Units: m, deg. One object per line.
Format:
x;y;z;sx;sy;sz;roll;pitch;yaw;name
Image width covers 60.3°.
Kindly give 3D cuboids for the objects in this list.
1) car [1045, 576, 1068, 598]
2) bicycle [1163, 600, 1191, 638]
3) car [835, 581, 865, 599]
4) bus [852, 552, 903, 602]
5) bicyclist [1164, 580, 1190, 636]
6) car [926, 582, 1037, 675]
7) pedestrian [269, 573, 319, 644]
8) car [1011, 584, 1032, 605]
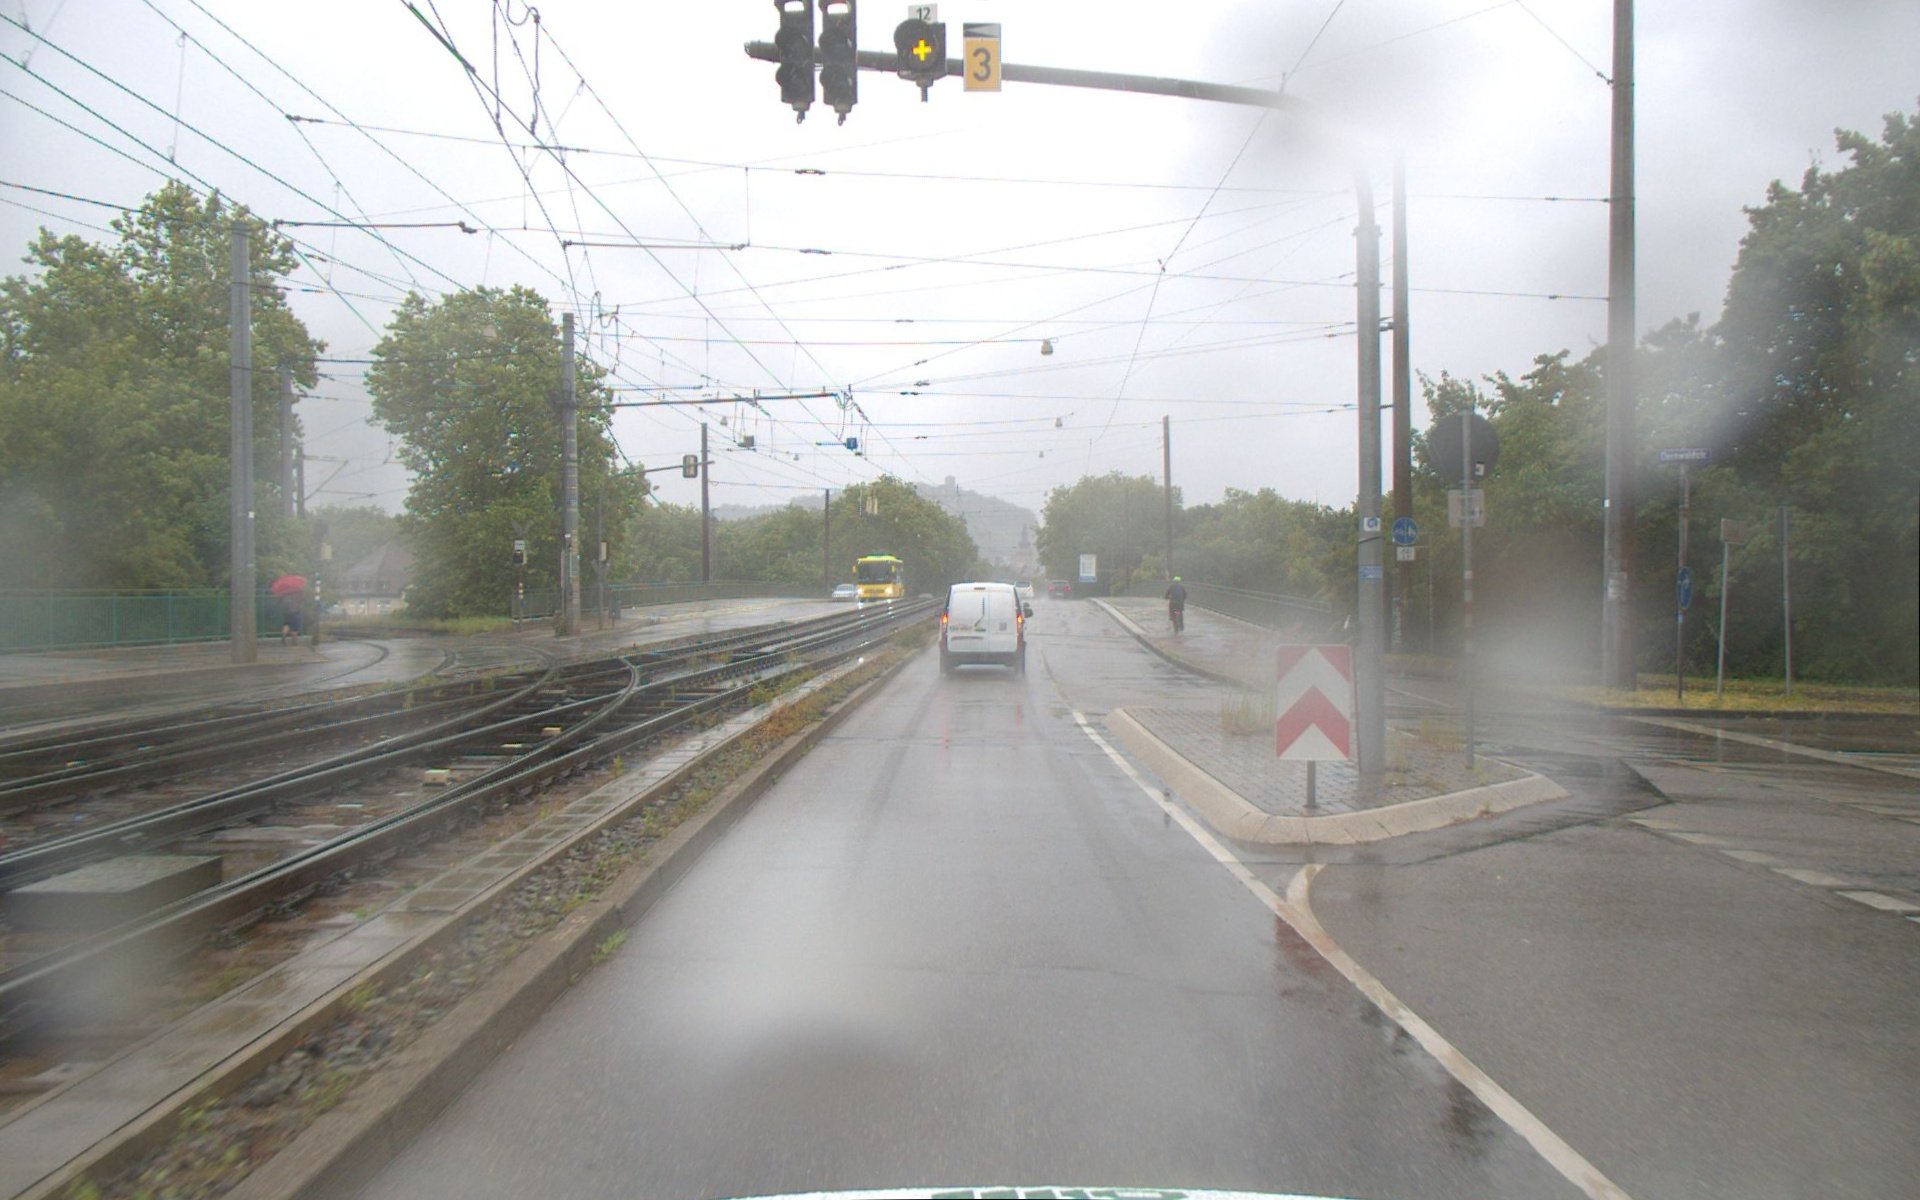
6.930;-0.938;118.715;1.421;1.526;2.981;1;0;-1;car
6.969;0.598;53.176;0.708;1.148;2.169;1;0;3;bicycle
-8.690;-0.828;131.292;1.894;1.252;4.102;-2;2;3;car
-6.079;-1.799;123.896;2.652;3.398;10.999;-2;2;3;bus
6.976;0.261;53.145;0.710;1.794;0.949;1;-1;3;bicyclist
0.500;0.572;34.058;1.951;1.756;4.002;1;0;5;car
-17.828;0.227;44.292;0.846;1.850;1.043;1;-1;1;pedestrian
4.722;-0.423;127.786;1.421;1.526;2.981;1;0;-1;car
